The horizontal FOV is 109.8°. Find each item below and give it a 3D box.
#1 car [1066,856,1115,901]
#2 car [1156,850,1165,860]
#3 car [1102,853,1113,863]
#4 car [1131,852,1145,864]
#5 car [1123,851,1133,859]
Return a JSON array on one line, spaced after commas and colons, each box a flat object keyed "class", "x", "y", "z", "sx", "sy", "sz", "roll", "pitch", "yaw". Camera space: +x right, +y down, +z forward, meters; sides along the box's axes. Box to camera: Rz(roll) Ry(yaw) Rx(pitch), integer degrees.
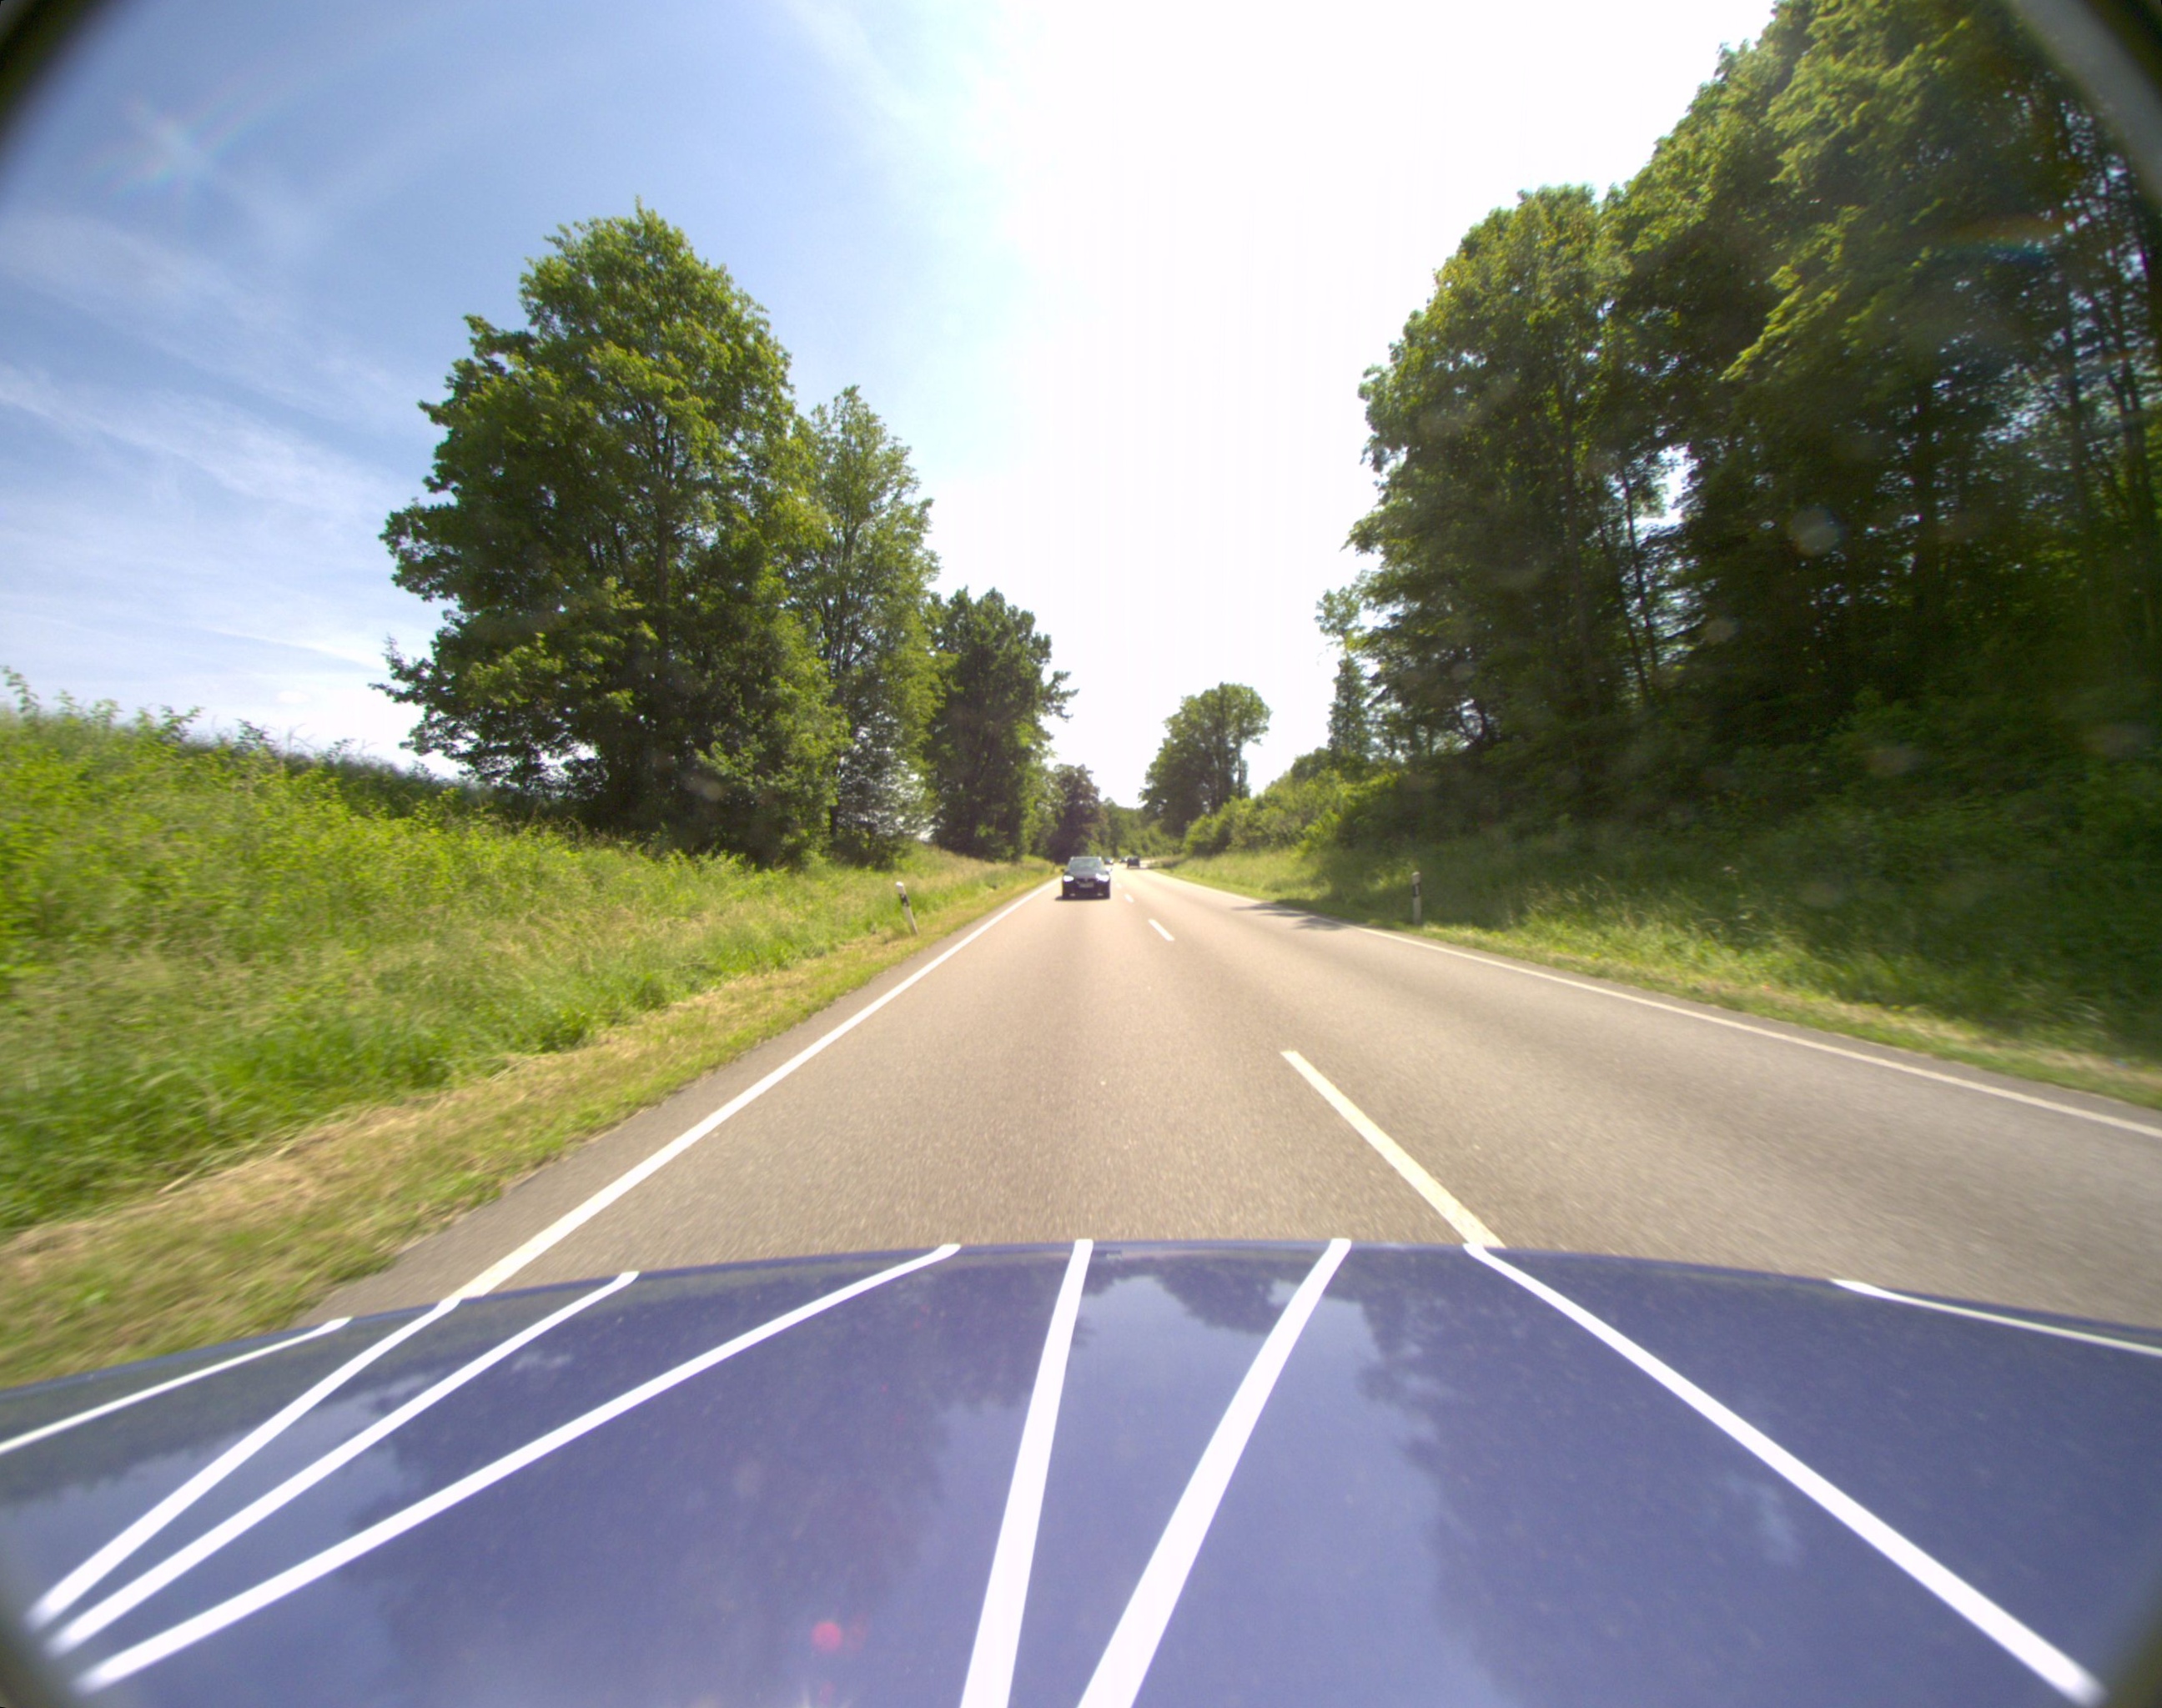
[{"class": "car", "x": 0.403, "y": 0.875, "z": 28.305, "sx": 1.661, "sy": 1.531, "sz": 3.487, "roll": -1, "pitch": 0, "yaw": 3}, {"class": "car", "x": 17.157, "y": 0.166, "z": 164.035, "sx": 1.998, "sy": 2.002, "sz": 4.002, "roll": -1, "pitch": 0, "yaw": 6}, {"class": "car", "x": 4.526, "y": 0.637, "z": 129.310, "sx": 1.811, "sy": 1.580, "sz": 4.000, "roll": -1, "pitch": 0, "yaw": 2}, {"class": "car", "x": 7.828, "y": 0.551, "z": 104.334, "sx": 1.775, "sy": 1.561, "sz": 4.219, "roll": -1, "pitch": 0, "yaw": 4}, {"class": "car", "x": 10.022, "y": 0.169, "z": 162.573, "sx": 1.811, "sy": 1.580, "sz": 4.002, "roll": -1, "pitch": 0, "yaw": 8}]
